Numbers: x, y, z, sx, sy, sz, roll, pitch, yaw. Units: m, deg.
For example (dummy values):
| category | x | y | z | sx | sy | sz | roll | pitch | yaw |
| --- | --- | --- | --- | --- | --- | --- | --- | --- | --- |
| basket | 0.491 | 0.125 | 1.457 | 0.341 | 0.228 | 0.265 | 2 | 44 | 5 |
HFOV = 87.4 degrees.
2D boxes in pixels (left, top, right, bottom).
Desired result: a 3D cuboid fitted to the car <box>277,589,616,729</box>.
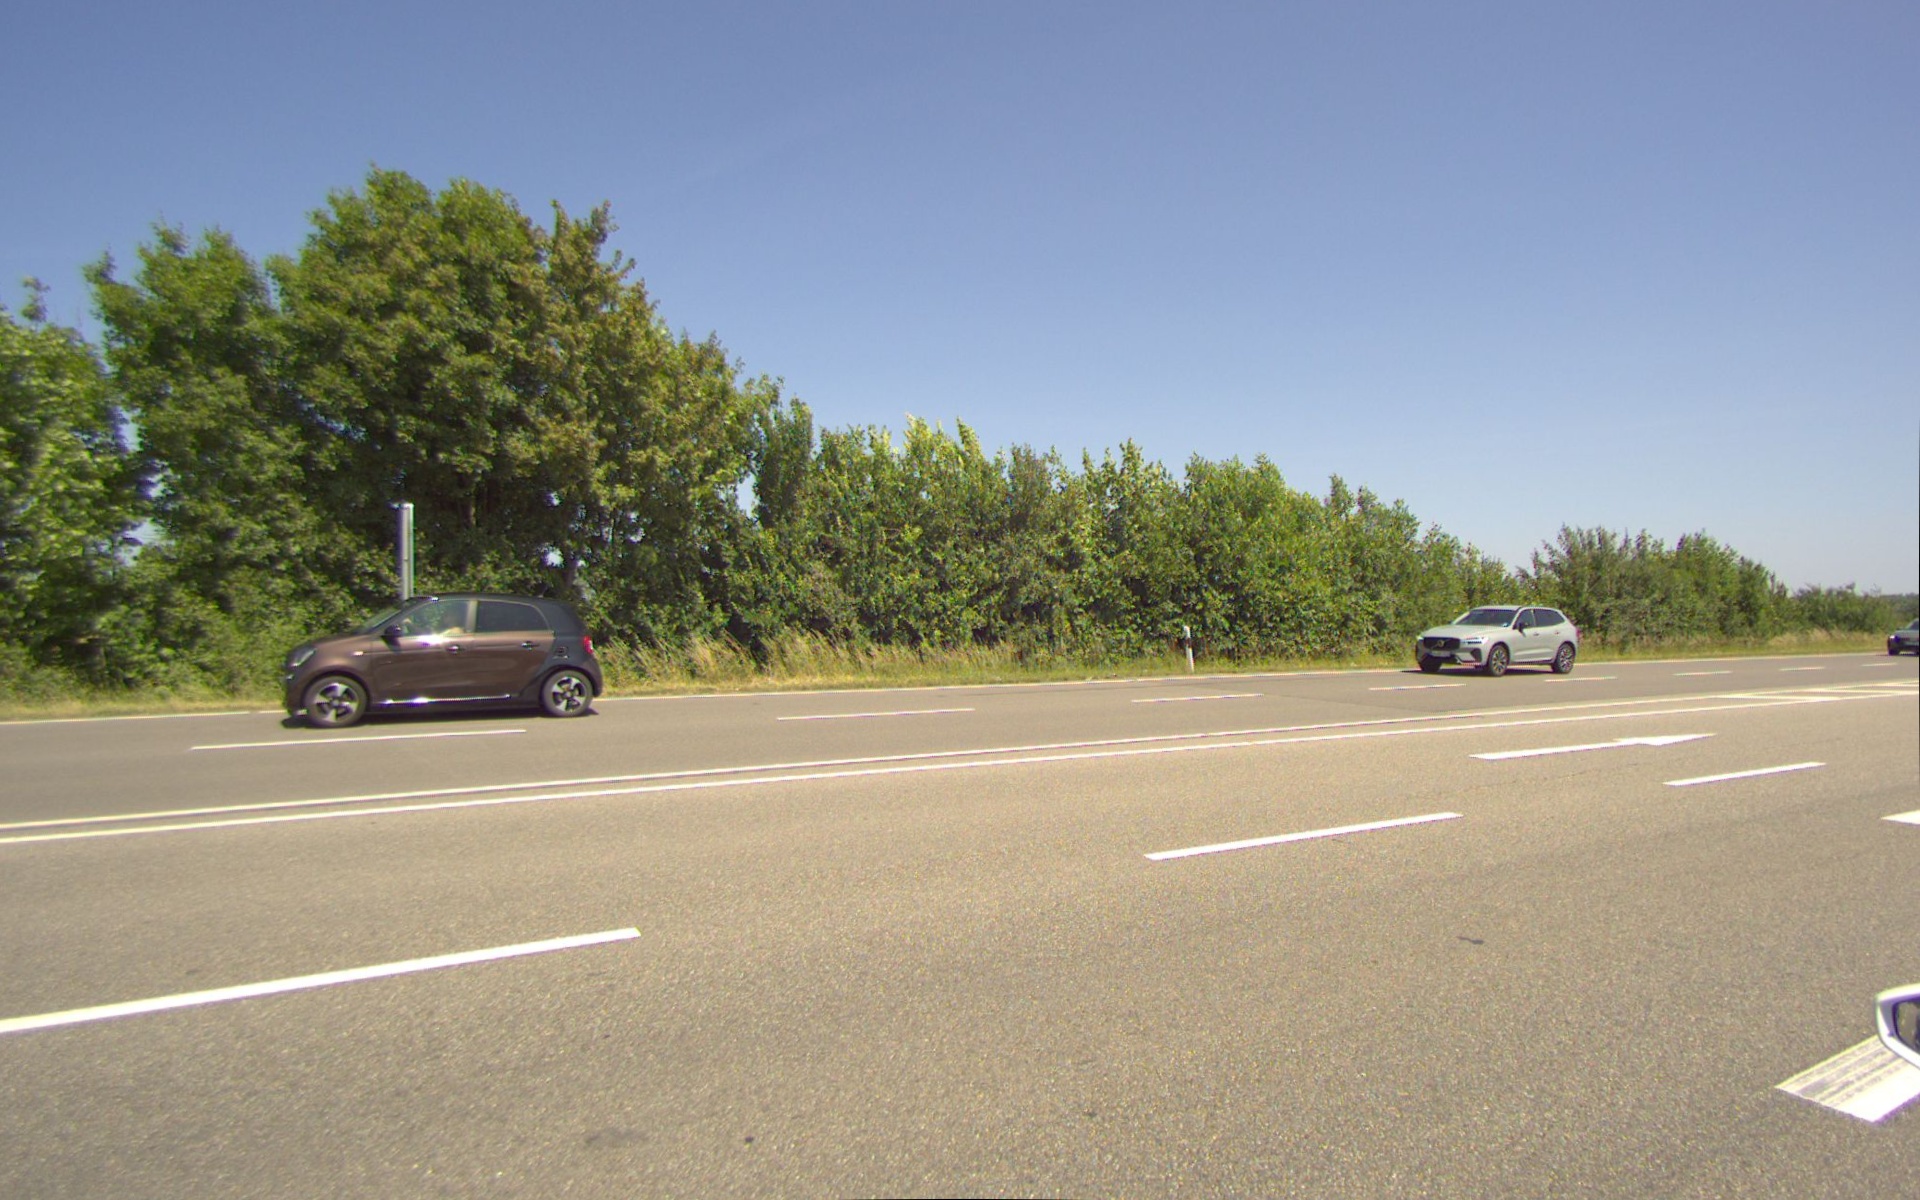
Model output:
| category | x | y | z | sx | sy | sz | roll | pitch | yaw |
| --- | --- | --- | --- | --- | --- | --- | --- | --- | --- |
| car | -6.270 | 0.661 | 12.451 | 3.519 | 1.507 | 1.636 | 1 | 0 | -32 |

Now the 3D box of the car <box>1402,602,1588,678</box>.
| category | x | y | z | sx | sy | sz | roll | pitch | yaw |
| --- | --- | --- | --- | --- | --- | --- | --- | --- | --- |
| car | 13.053 | 0.891 | 24.468 | 4.517 | 1.661 | 2.017 | 0 | 1 | -32 |

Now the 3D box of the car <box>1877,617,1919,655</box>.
| category | x | y | z | sx | sy | sz | roll | pitch | yaw |
| --- | --- | --- | --- | --- | --- | --- | --- | --- | --- |
| car | 38.033 | 1.404 | 39.390 | 4.480 | 1.417 | 1.868 | 1 | 0 | -31 |
